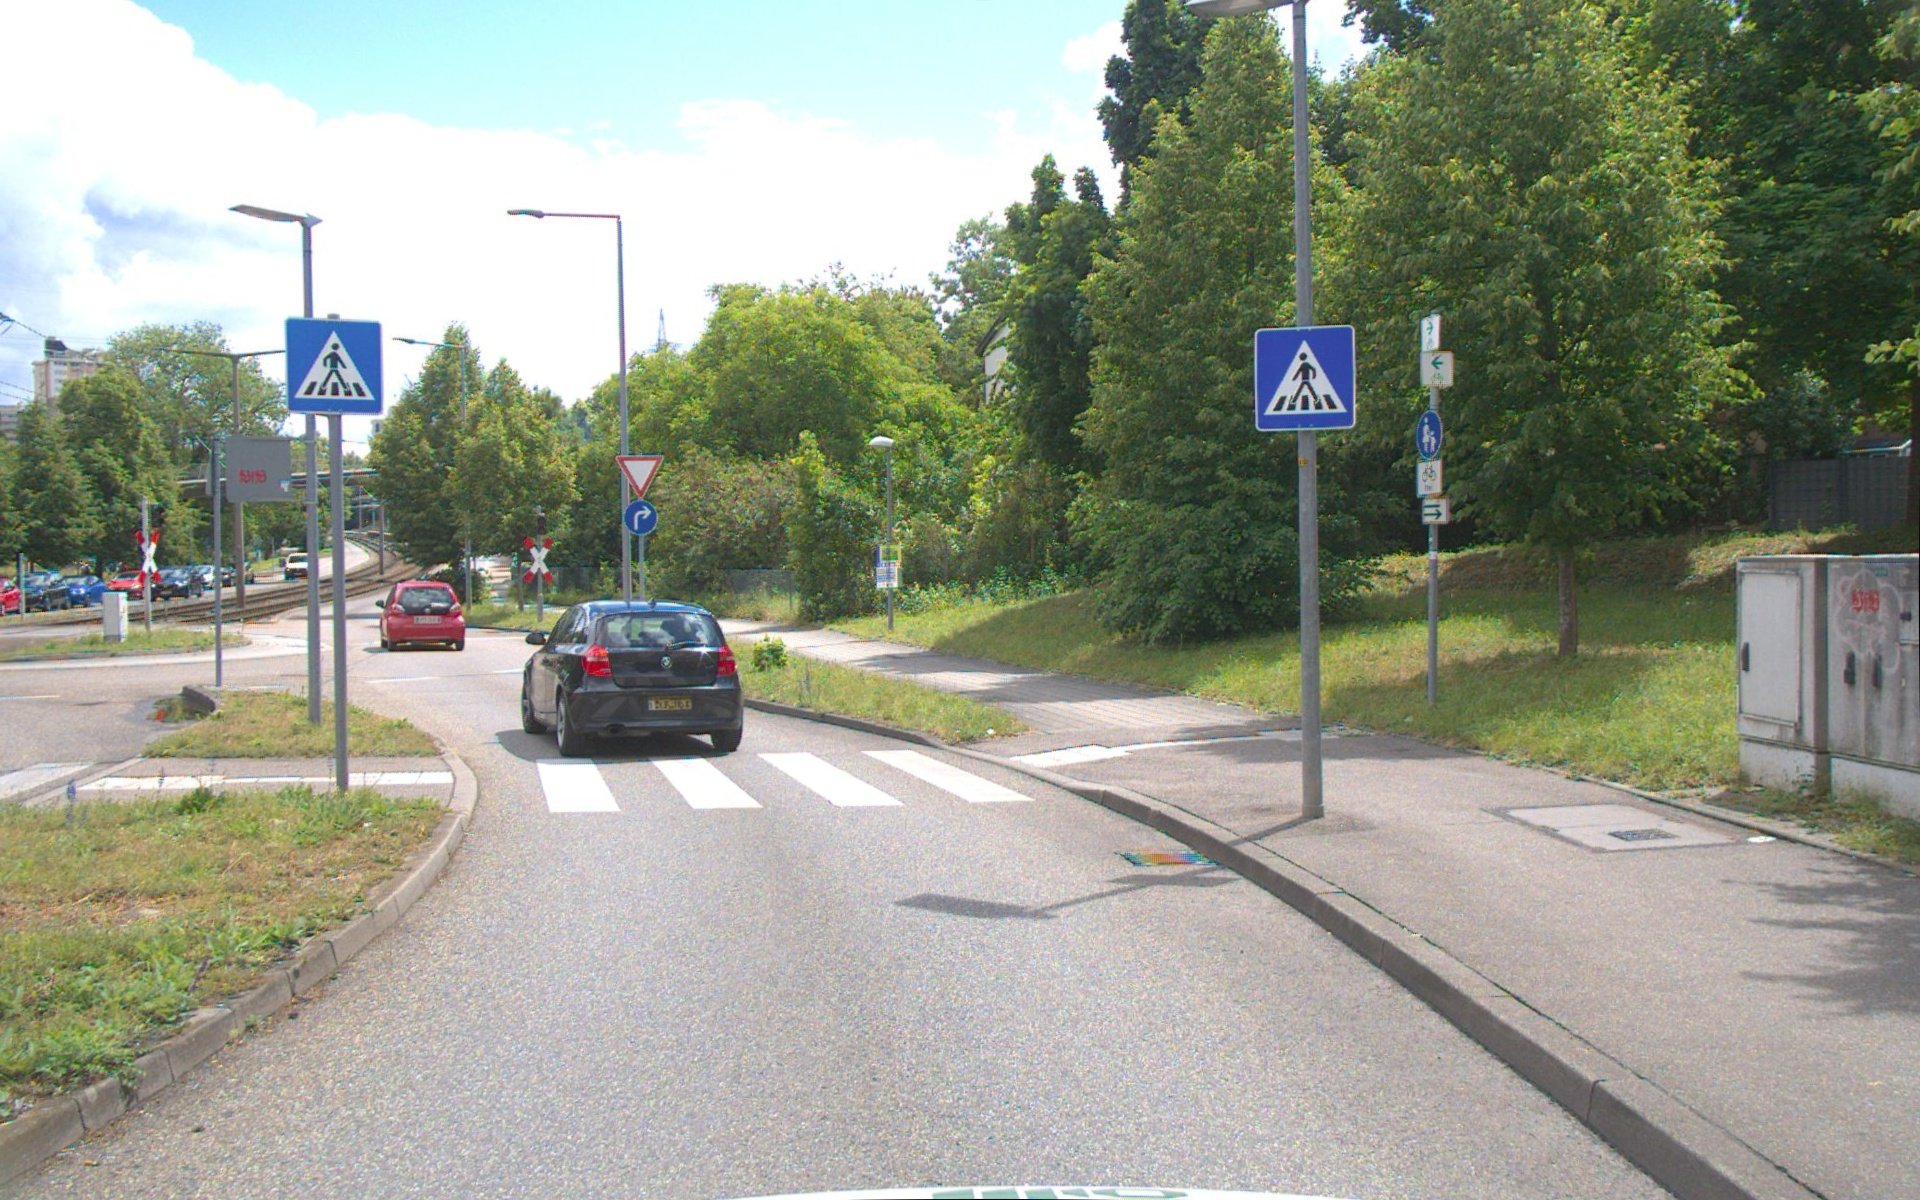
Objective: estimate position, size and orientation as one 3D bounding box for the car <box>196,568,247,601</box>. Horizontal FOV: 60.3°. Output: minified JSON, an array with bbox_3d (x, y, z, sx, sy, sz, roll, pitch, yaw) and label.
[{"bbox_3d":[-47.381,-1.020,106.174,1.957,2.048,3.993,-1,2,-9],"label":"car"}]

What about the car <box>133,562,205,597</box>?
[{"bbox_3d":[-38.782,-1.005,81.197,1.956,1.625,4.411,-1,1,-8],"label":"car"}]

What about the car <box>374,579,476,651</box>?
[{"bbox_3d":[-11.905,0.330,36.692,1.743,1.457,3.451,-2,0,-25],"label":"car"}]

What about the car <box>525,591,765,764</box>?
[{"bbox_3d":[-3.280,0.704,16.629,1.788,1.445,3.977,-2,0,-19],"label":"car"}]

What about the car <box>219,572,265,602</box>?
[{"bbox_3d":[-48.211,-0.893,111.112,1.957,1.895,3.991,-1,2,-10],"label":"car"}]

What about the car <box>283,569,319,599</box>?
[{"bbox_3d":[-47.564,-1.178,119.469,1.961,2.048,3.983,-1,1,-16],"label":"car"}]

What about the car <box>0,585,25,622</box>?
[{"bbox_3d":[-37.815,0.137,64.334,1.502,1.394,3.585,-1,1,-13],"label":"car"}]

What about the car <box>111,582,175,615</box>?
[{"bbox_3d":[-41.996,-0.103,85.115,1.878,1.588,3.990,-1,1,-11],"label":"car"}]

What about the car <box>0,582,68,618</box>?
[{"bbox_3d":[-39.327,-0.008,69.732,1.844,1.450,3.525,-1,1,-8],"label":"car"}]

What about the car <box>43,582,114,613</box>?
[{"bbox_3d":[-39.901,-0.116,74.977,1.773,1.276,3.560,-1,2,-10],"label":"car"}]
